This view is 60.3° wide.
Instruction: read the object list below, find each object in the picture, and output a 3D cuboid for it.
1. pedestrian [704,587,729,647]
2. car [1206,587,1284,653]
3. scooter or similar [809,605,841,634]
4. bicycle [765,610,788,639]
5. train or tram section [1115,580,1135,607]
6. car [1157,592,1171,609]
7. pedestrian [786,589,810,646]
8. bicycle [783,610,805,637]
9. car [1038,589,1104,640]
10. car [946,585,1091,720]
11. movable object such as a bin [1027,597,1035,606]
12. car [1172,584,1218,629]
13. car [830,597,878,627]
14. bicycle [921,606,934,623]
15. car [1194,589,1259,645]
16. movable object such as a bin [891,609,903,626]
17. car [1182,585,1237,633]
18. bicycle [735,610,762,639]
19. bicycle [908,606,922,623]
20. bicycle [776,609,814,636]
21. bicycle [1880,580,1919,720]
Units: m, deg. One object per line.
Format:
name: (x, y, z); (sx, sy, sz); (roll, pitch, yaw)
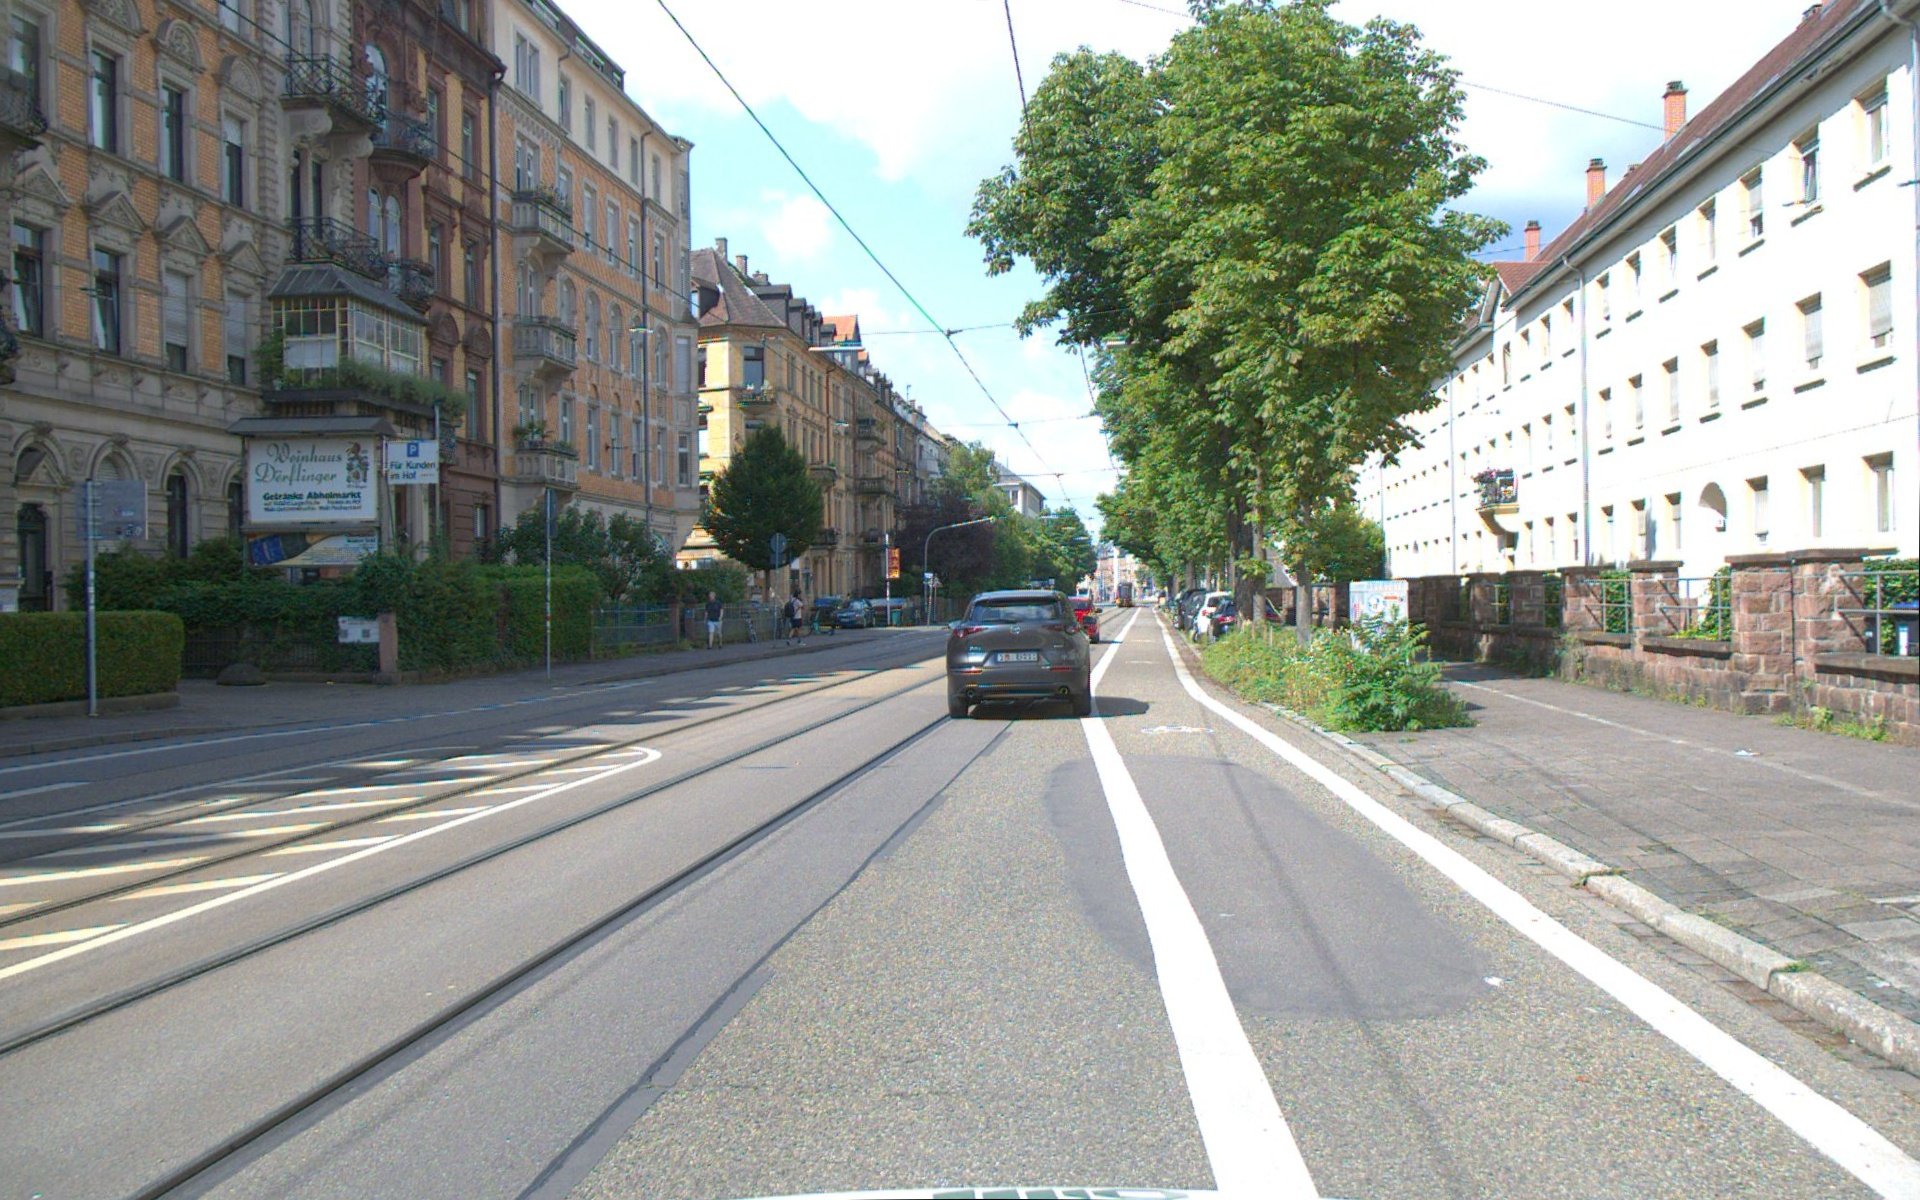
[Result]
pedestrian: (-7.197, 0.501, 48.918); (0.477, 1.733, 1.152); (-1, 0, 4)
car: (7.194, 0.476, 42.021); (1.625, 1.547, 4.291); (-1, 0, 6)
scooter or similar: (-5.950, 0.858, 72.830); (1.342, 1.256, 0.401); (0, 0, -22)
bicycle: (-6.620, 0.871, 59.705); (0.412, 0.993, 1.951); (-1, 0, 6)
train or tram section: (24.108, -1.023, 242.453); (2.517, 3.838, 13.033); (-1, 0, 4)
car: (25.200, 0.054, 204.514); (1.684, 2.003, 4.210); (-1, 0, 7)
pedestrian: (-5.235, 0.560, 53.553); (0.522, 1.791, 1.106); (1, 0, 6)
bicycle: (-6.245, 0.881, 62.268); (0.412, 0.993, 1.951); (-1, 0, 6)
car: (3.654, 0.464, 53.898); (1.951, 1.555, 4.003); (1, 0, 6)
car: (0.820, 0.622, 21.272); (1.684, 1.553, 3.591); (-1, 0, 4)
movable object such as a bin: (7.682, 0.160, 178.197); (0.729, 1.005, 1.115); (1, 0, 6)
car: (10.136, 0.259, 71.487); (1.788, 1.813, 4.736); (-2, 0, 6)
car: (-5.608, 0.622, 87.948); (1.649, 1.485, 4.768); (-2, 0, 7)
bicycle: (-1.911, 0.853, 98.024); (0.519, 0.963, 1.969); (-1, 0, 6)
car: (8.104, 0.499, 50.549); (1.705, 1.608, 4.251); (-1, 0, 6)
movable object such as a bin: (-3.434, 0.954, 89.986); (0.514, 0.921, 0.636); (-2, 0, 5)
car: (9.272, 0.314, 61.755); (1.823, 1.682, 4.641); (-1, 0, 6)
bicycle: (-7.060, 0.814, 55.265); (0.412, 0.949, 1.951); (-1, 0, 6)
bicycle: (-2.540, 0.822, 94.340); (0.519, 0.963, 1.969); (-1, 0, 6)
bicycle: (-6.411, 0.884, 64.255); (1.422, 0.994, 0.404); (-2, 0, 6)
bicycle: (8.668, 0.437, 14.473); (0.494, 1.221, 1.492); (-1, 0, 5)
